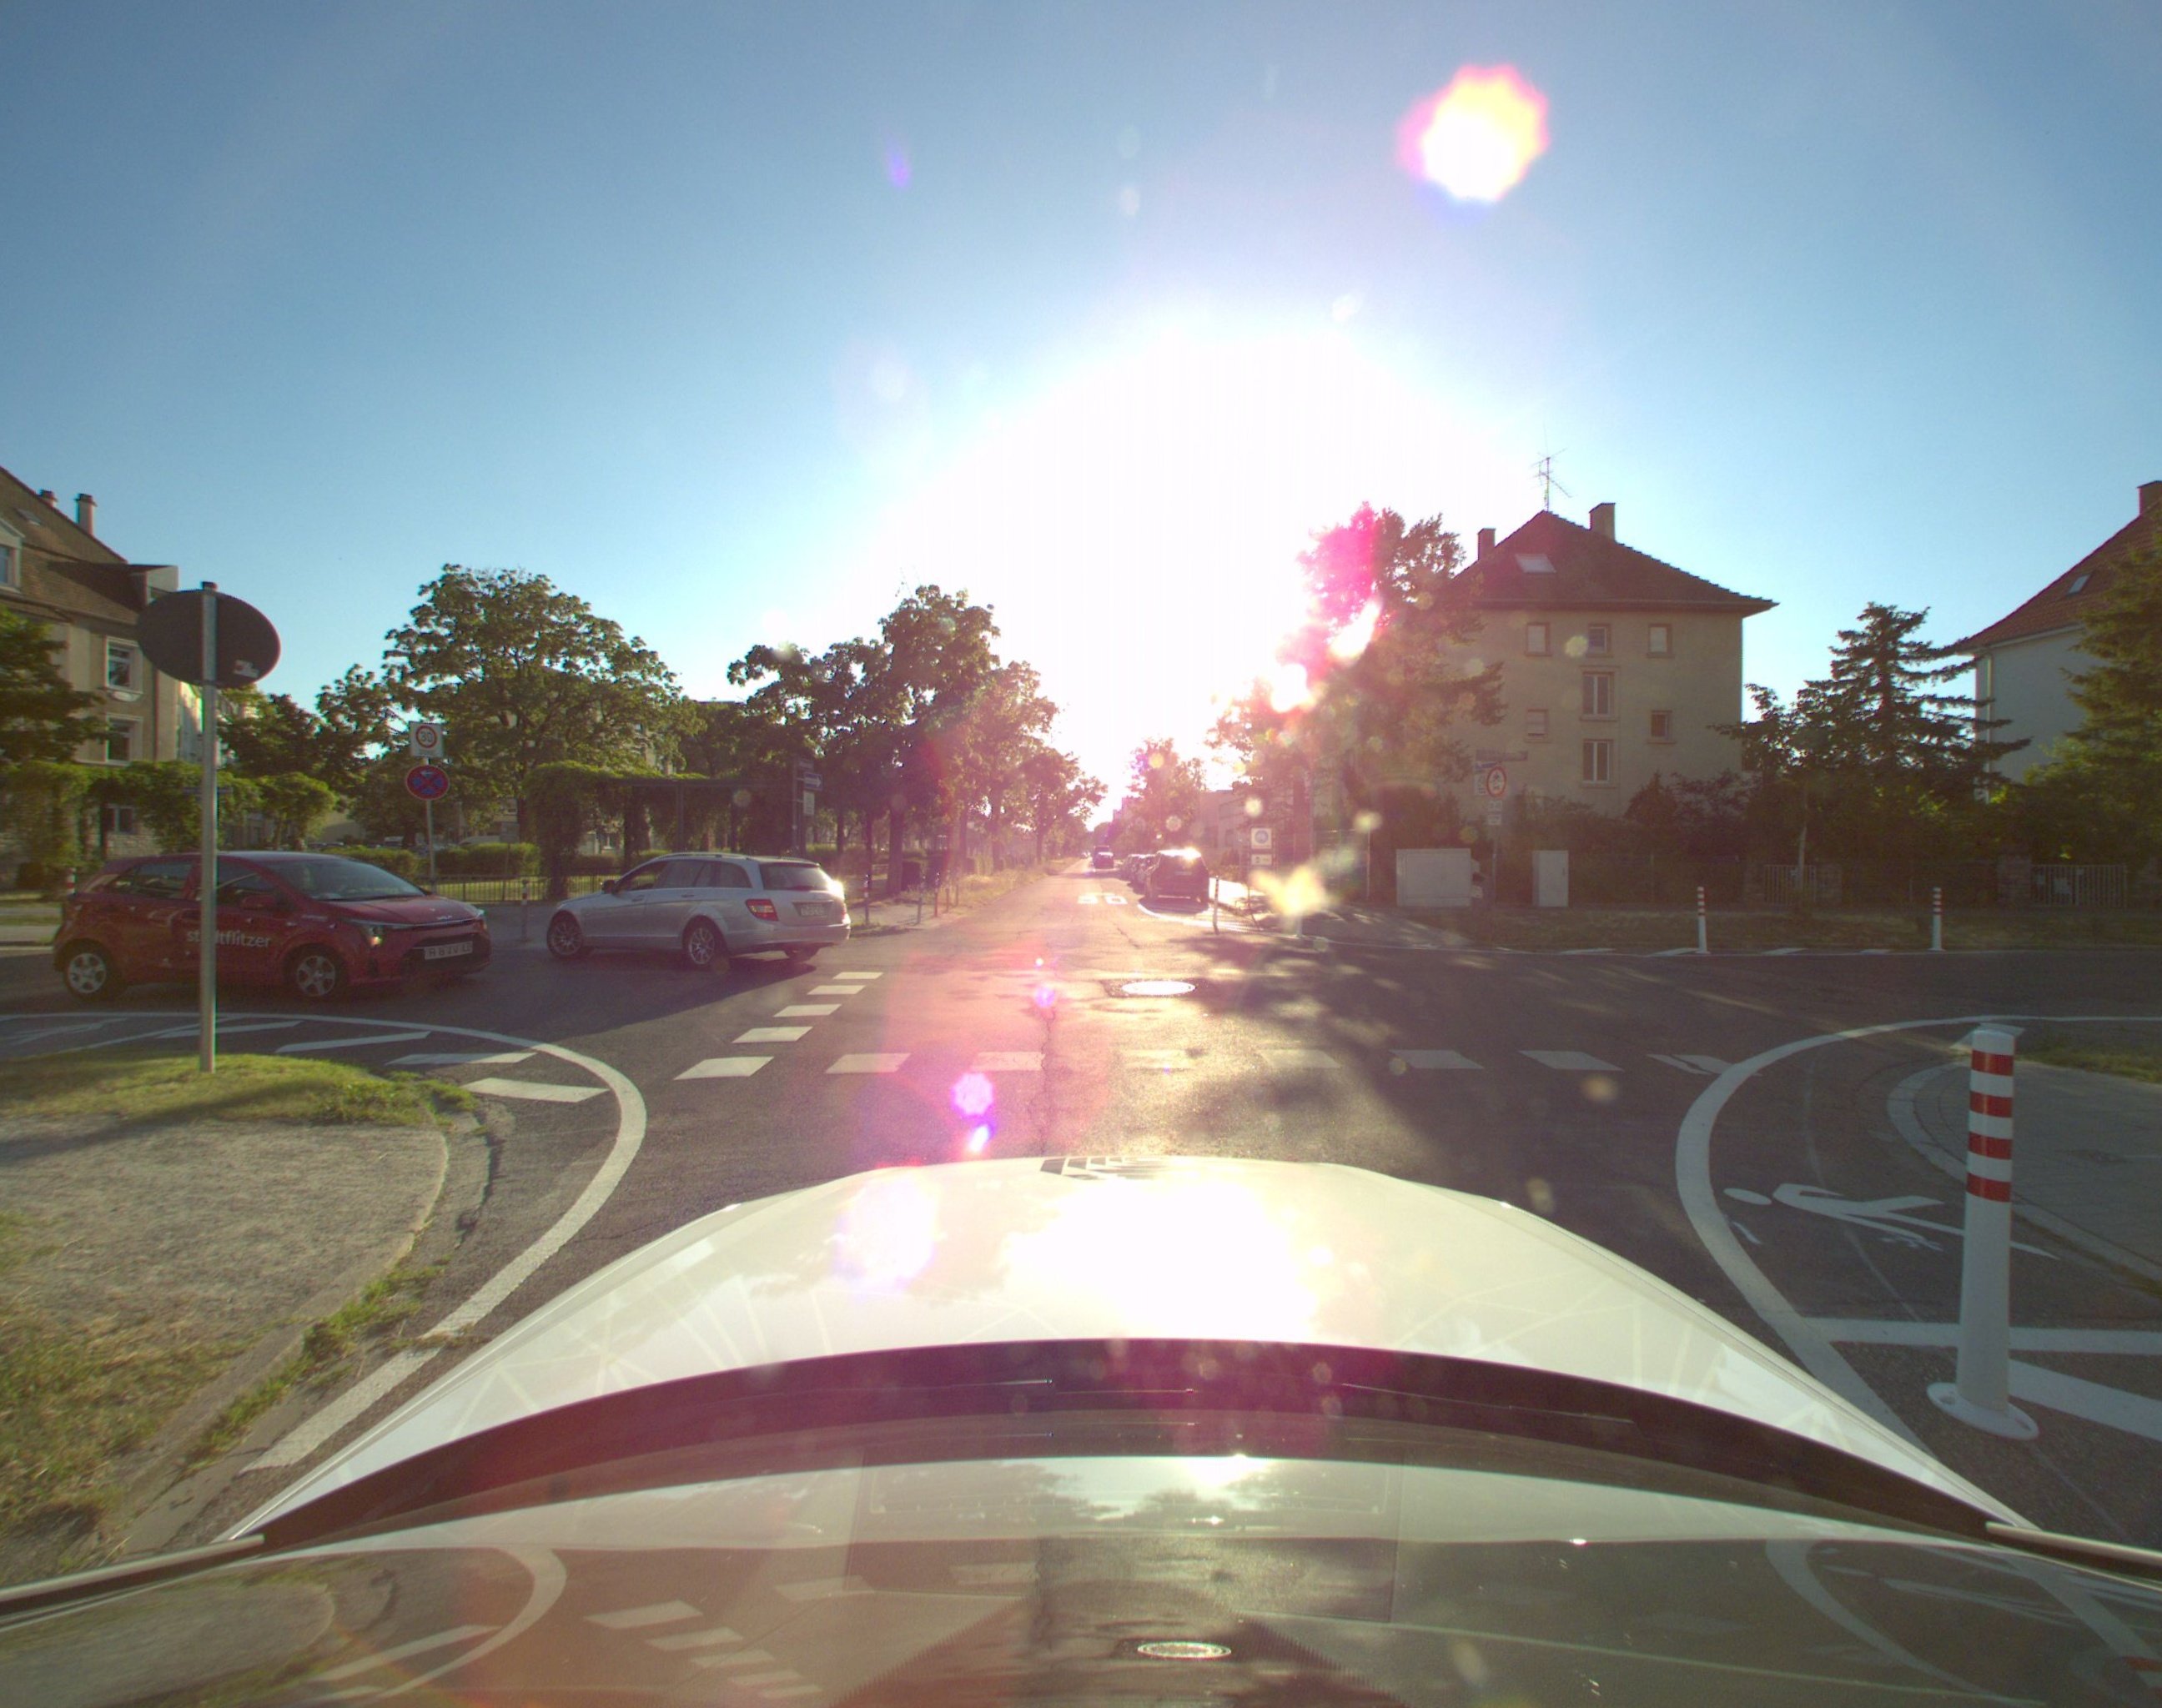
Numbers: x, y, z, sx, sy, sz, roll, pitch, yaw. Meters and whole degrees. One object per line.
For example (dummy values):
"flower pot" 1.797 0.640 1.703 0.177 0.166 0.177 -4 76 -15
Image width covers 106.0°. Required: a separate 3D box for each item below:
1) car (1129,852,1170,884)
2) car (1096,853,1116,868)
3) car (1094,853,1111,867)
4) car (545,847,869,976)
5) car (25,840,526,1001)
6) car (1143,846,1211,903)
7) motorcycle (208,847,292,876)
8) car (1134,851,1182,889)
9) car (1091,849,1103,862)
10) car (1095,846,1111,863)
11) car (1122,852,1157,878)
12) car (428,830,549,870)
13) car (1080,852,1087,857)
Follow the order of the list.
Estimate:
"car" 3.363 0.668 40.432 1.724 1.518 3.759 0 0 0
"car" 2.565 0.686 84.479 1.752 1.518 3.757 0 0 -2
"car" 2.325 0.655 88.653 1.725 1.518 3.757 0 0 -2
"car" -5.136 0.669 11.110 4.163 1.473 1.834 0 0 27
"car" -8.493 0.661 8.828 3.744 1.526 1.772 -1 0 3
"car" 3.062 0.623 26.649 1.810 1.641 4.218 3 0 2
"motorcycle" -44.865 0.389 44.020 3.222 1.487 0.850 -1 -1 -12
"car" 3.292 0.666 35.561 1.759 1.526 3.773 -1 0 0
"car" 2.717 0.283 141.376 1.987 2.123 4.000 0 0 1
"car" 2.775 0.040 102.185 1.987 2.123 4.000 0 0 1
"car" 3.499 0.636 49.625 1.760 1.526 3.770 -1 0 -2
"car" -41.786 -0.280 57.699 6.708 2.744 2.296 0 0 -29
"car" 0.682 0.168 231.935 1.860 1.618 3.999 0 0 -1
